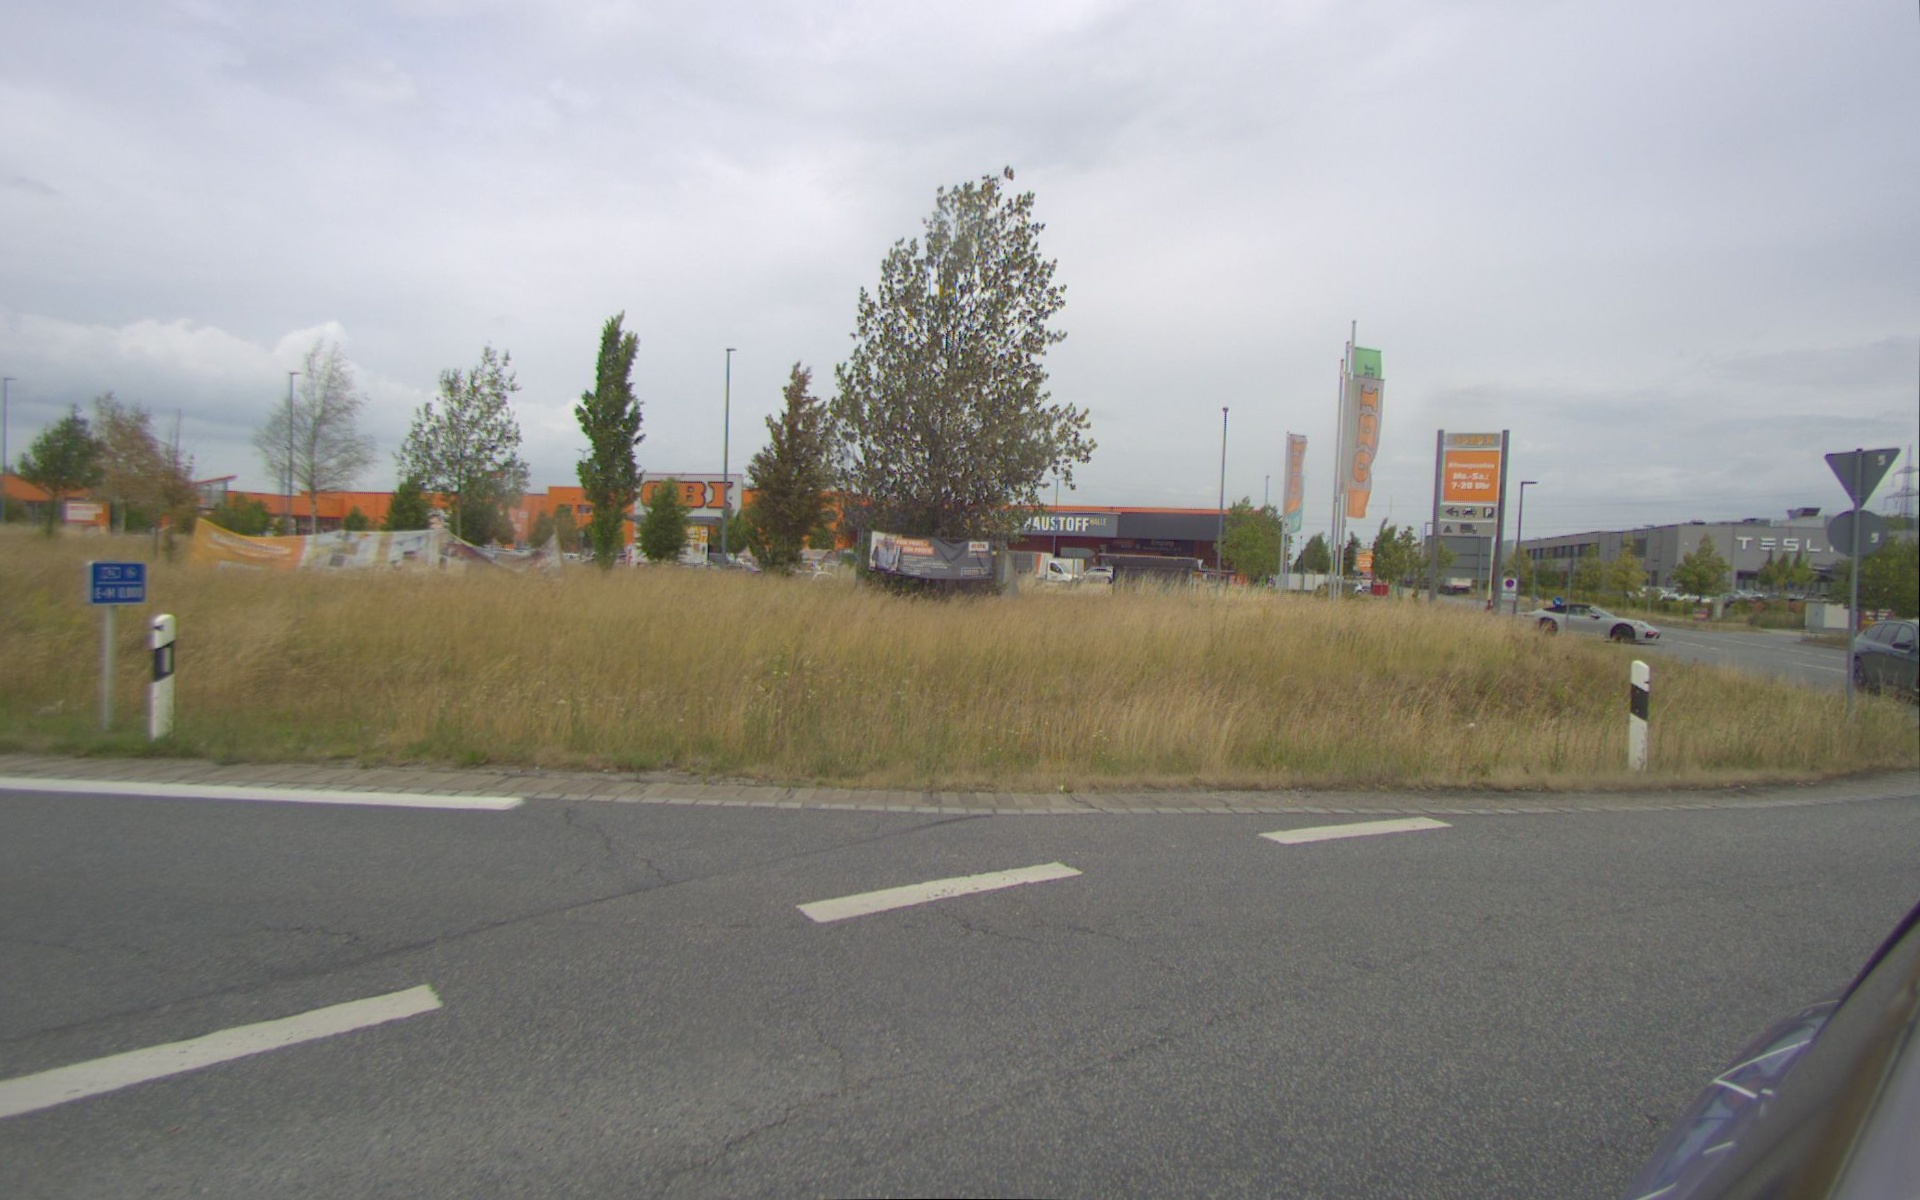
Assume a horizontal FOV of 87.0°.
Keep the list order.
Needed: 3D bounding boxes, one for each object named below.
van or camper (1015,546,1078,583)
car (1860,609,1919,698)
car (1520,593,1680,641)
[{"bbox_3d":[6.975,-2.808,81.397,4.700,2.826,1.989,0,0,18],"label":"van or camper"},{"bbox_3d":[18.367,1.014,18.218,1.977,1.523,4.272,2,2,24],"label":"car"},{"bbox_3d":[23.478,0.568,37.221,4.718,1.415,1.801,4,4,43],"label":"car"}]
